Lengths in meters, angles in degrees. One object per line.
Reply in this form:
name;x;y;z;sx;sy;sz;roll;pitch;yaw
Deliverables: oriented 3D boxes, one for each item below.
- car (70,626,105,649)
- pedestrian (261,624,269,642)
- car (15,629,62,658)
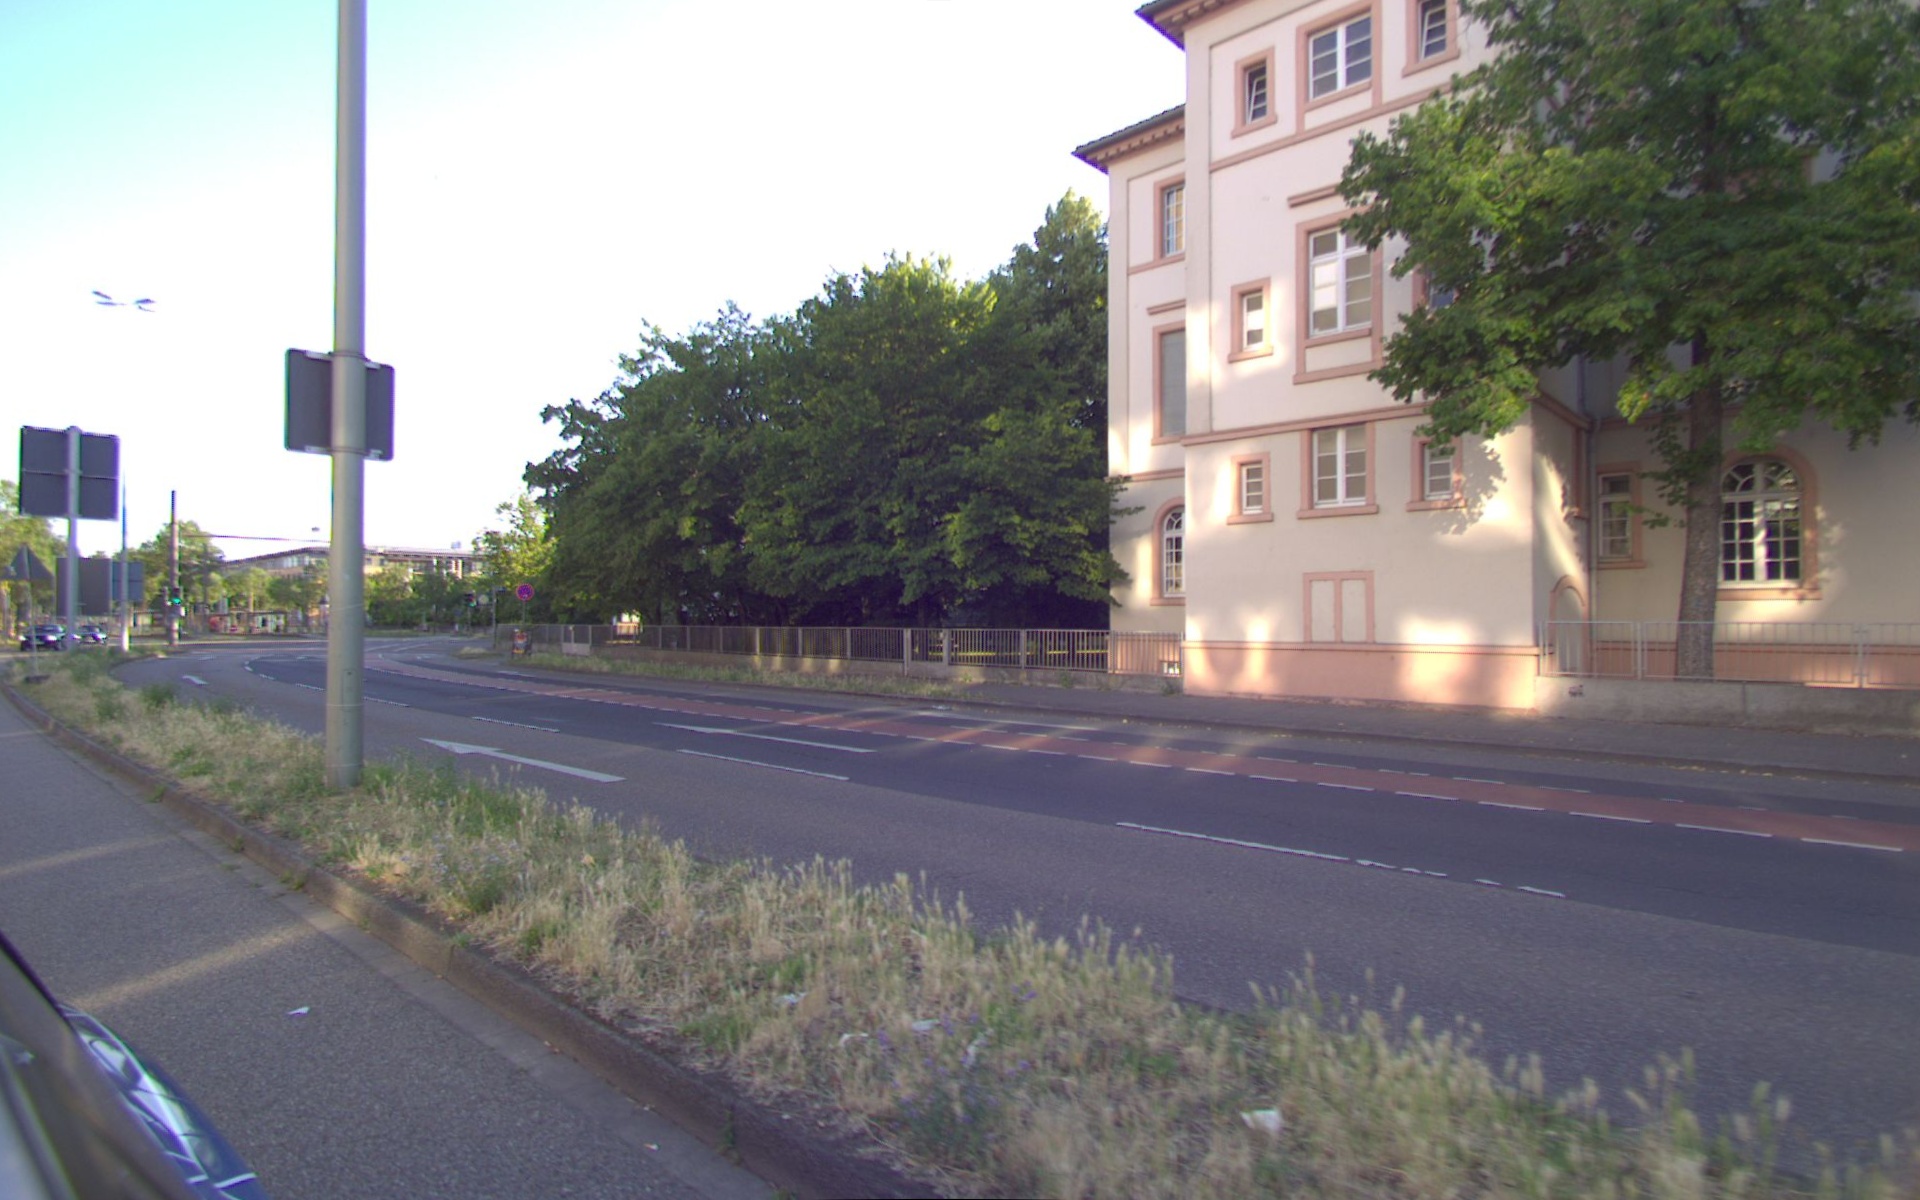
car;-58.998;2.494;68.493;1.705;1.460;4.053;0;-1;-39
pedestrian;-77.432;3.681;112.765;0.664;2.029;0.549;-2;-2;42
car;-49.924;2.322;54.896;1.560;1.460;3.880;0;-1;-37
